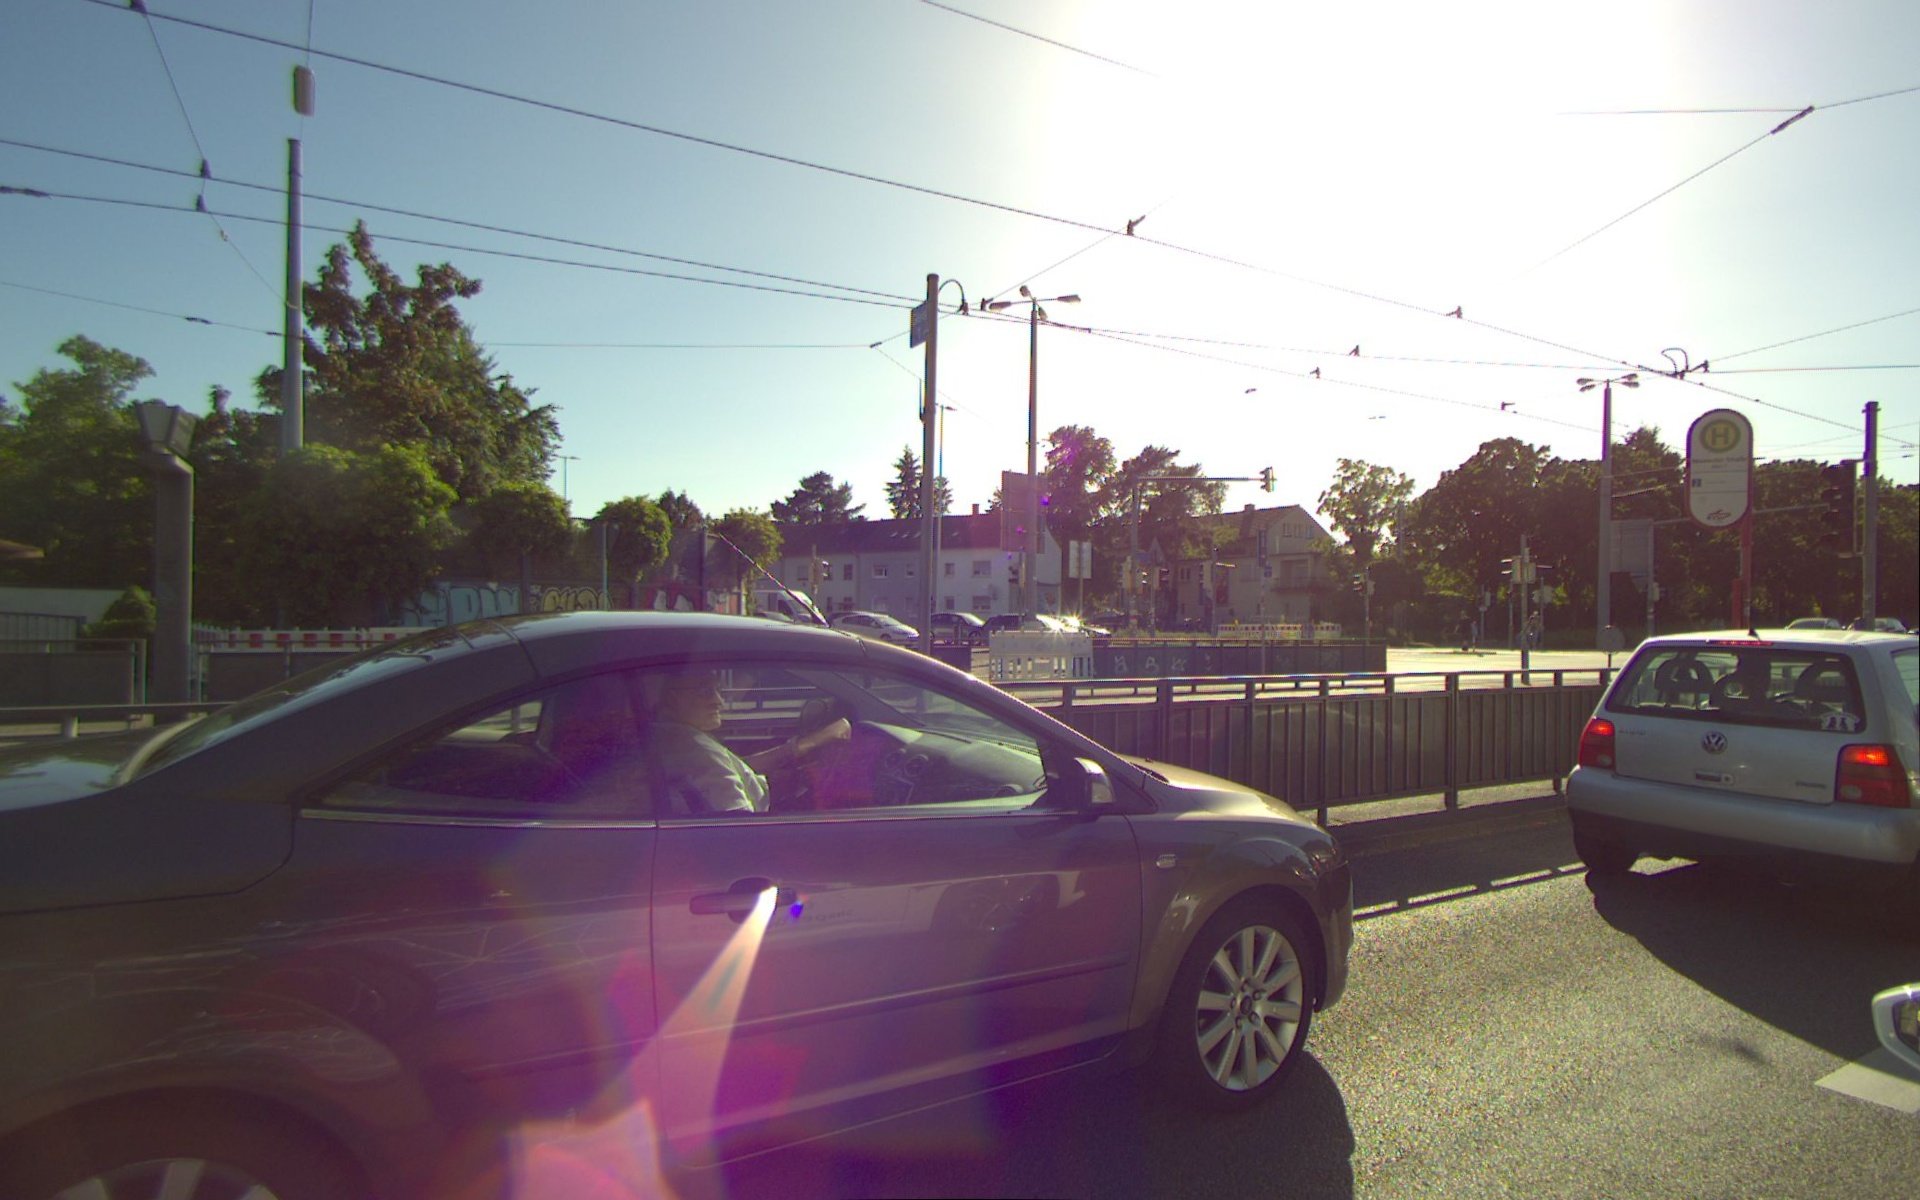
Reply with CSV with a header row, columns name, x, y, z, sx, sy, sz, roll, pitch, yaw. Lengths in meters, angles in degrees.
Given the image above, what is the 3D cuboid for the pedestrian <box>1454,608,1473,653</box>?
name,x,y,z,sx,sy,sz,roll,pitch,yaw
pedestrian,22.240,1.335,44.358,0.599,1.974,0.776,0,0,16

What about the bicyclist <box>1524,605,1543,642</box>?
name,x,y,z,sx,sy,sz,roll,pitch,yaw
bicyclist,25.776,1.048,45.159,0.641,1.629,0.487,1,-1,-31

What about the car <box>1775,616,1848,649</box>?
name,x,y,z,sx,sy,sz,roll,pitch,yaw
car,39.575,1.497,46.672,3.665,1.478,1.673,1,-1,-34

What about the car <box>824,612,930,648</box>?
name,x,y,z,sx,sy,sz,roll,pitch,yaw
car,-3.622,1.275,43.687,4.290,1.486,1.933,0,-1,32

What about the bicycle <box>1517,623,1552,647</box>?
name,x,y,z,sx,sy,sz,roll,pitch,yaw
bicycle,25.842,1.576,45.193,1.926,1.056,0.504,1,-1,-31

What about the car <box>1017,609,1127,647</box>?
name,x,y,z,sx,sy,sz,roll,pitch,yaw
car,4.693,1.153,42.315,4.175,1.486,1.933,0,0,32

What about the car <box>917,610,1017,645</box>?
name,x,y,z,sx,sy,sz,roll,pitch,yaw
car,0.309,1.205,45.625,4.185,1.486,1.933,0,0,32

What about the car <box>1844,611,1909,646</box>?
name,x,y,z,sx,sy,sz,roll,pitch,yaw
car,46.481,1.410,50.949,3.964,1.710,1.778,1,-1,-37

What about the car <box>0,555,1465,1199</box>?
name,x,y,z,sx,sy,sz,roll,pitch,yaw
car,-0.415,0.749,3.128,4.150,1.555,1.740,1,-1,-33

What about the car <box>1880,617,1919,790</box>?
name,x,y,z,sx,sy,sz,roll,pitch,yaw
car,10.787,0.950,9.589,4.371,1.548,1.867,1,-1,-32

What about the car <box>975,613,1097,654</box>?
name,x,y,z,sx,sy,sz,roll,pitch,yaw
car,2.939,1.275,39.302,4.556,1.496,1.668,0,-1,32

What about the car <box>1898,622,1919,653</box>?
name,x,y,z,sx,sy,sz,roll,pitch,yaw
car,53.302,2.039,55.074,4.646,1.617,1.801,1,-1,-35

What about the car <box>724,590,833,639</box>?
name,x,y,z,sx,sy,sz,roll,pitch,yaw
car,-9.562,0.754,52.687,5.823,2.443,2.174,0,-1,35

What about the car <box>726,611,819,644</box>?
name,x,y,z,sx,sy,sz,roll,pitch,yaw
car,-8.954,1.304,47.840,4.185,1.486,1.933,0,-1,32

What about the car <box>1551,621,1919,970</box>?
name,x,y,z,sx,sy,sz,roll,pitch,yaw
car,5.204,0.888,5.935,3.376,1.488,1.573,1,0,-32
